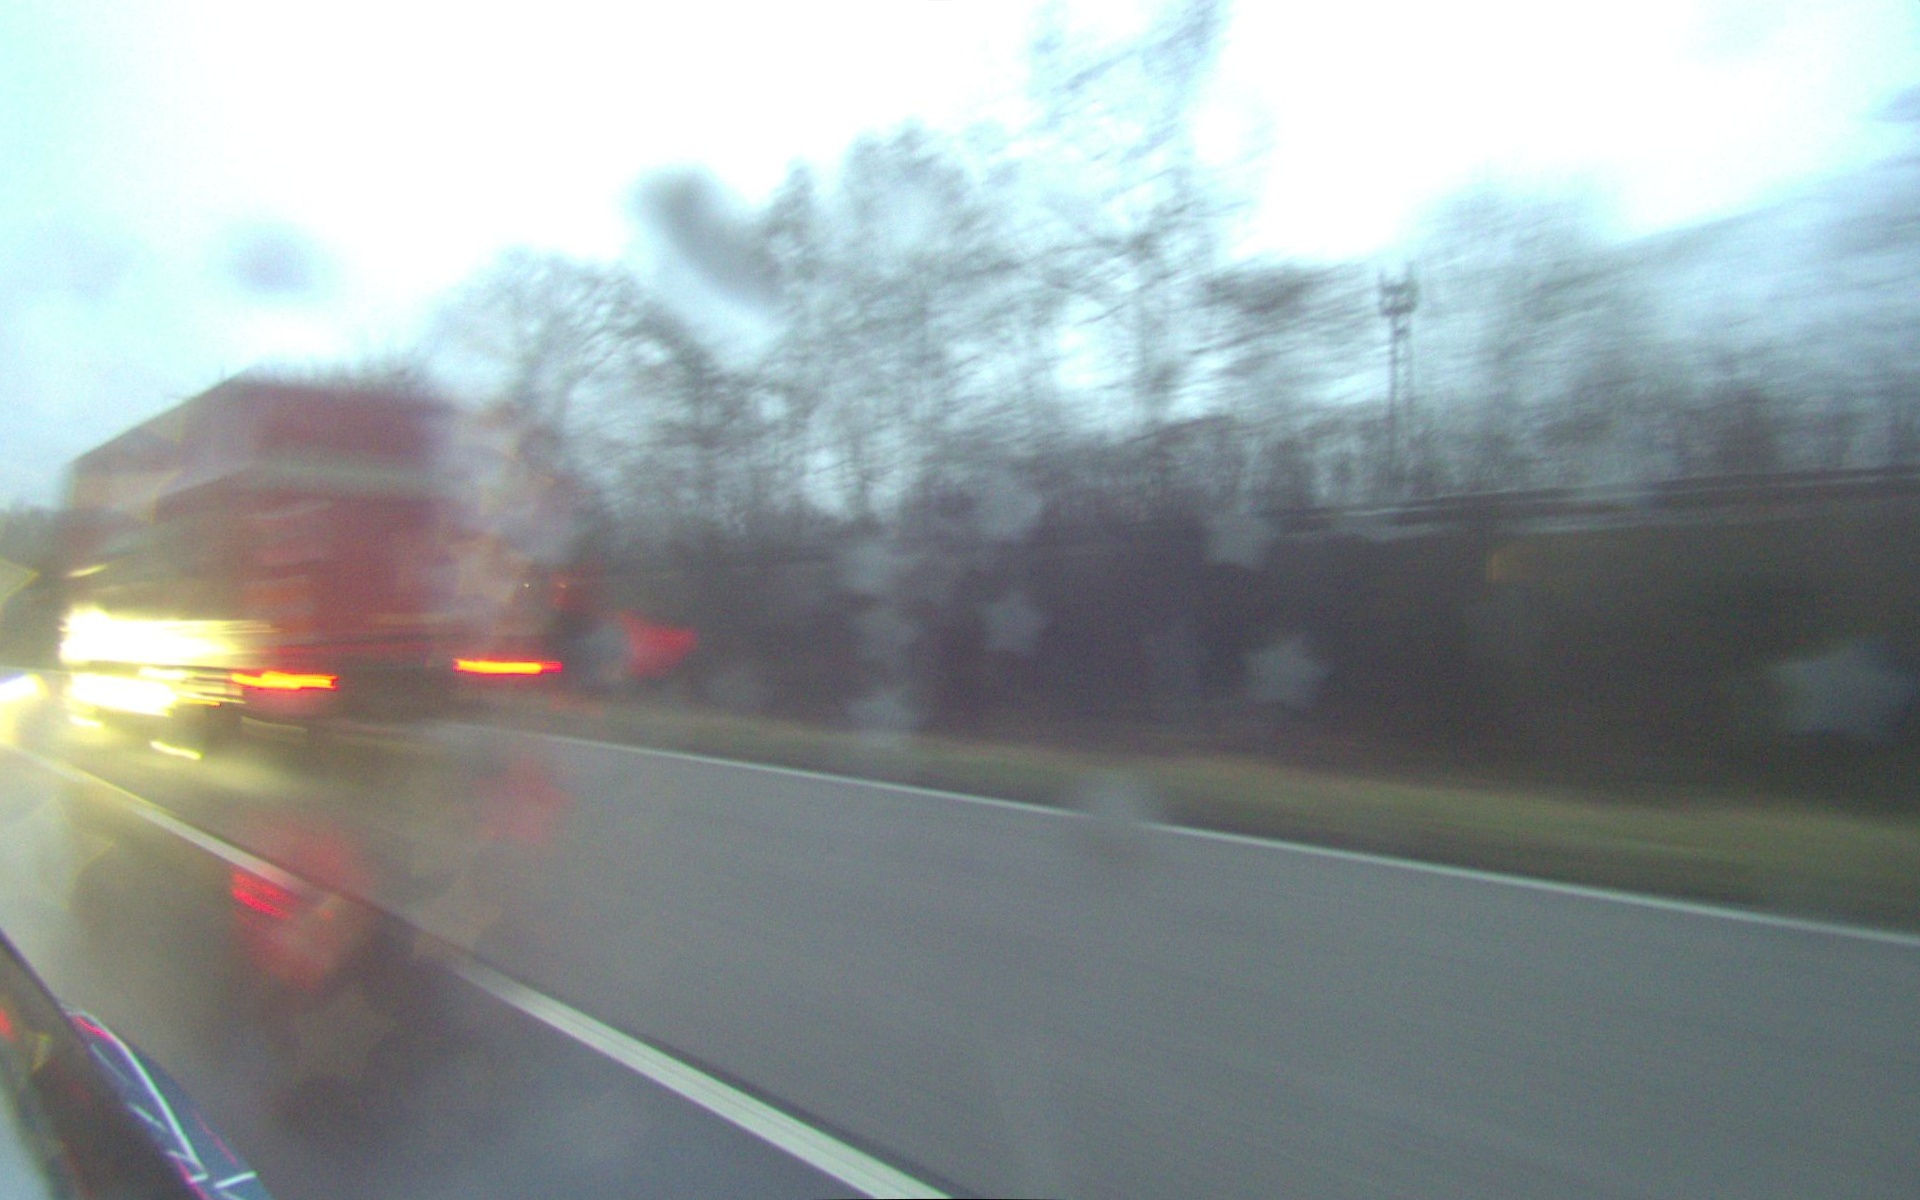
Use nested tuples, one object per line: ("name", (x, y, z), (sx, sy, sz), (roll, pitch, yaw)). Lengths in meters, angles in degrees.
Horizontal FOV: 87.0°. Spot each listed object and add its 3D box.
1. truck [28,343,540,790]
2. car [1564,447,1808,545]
("truck", (-8.839, -0.224, 12.400), (9.835, 3.623, 2.621), (-1, 0, 40))
("car", (14.889, -2.055, 20.877), (3.939, 1.646, 1.767), (-1, 1, 40))
